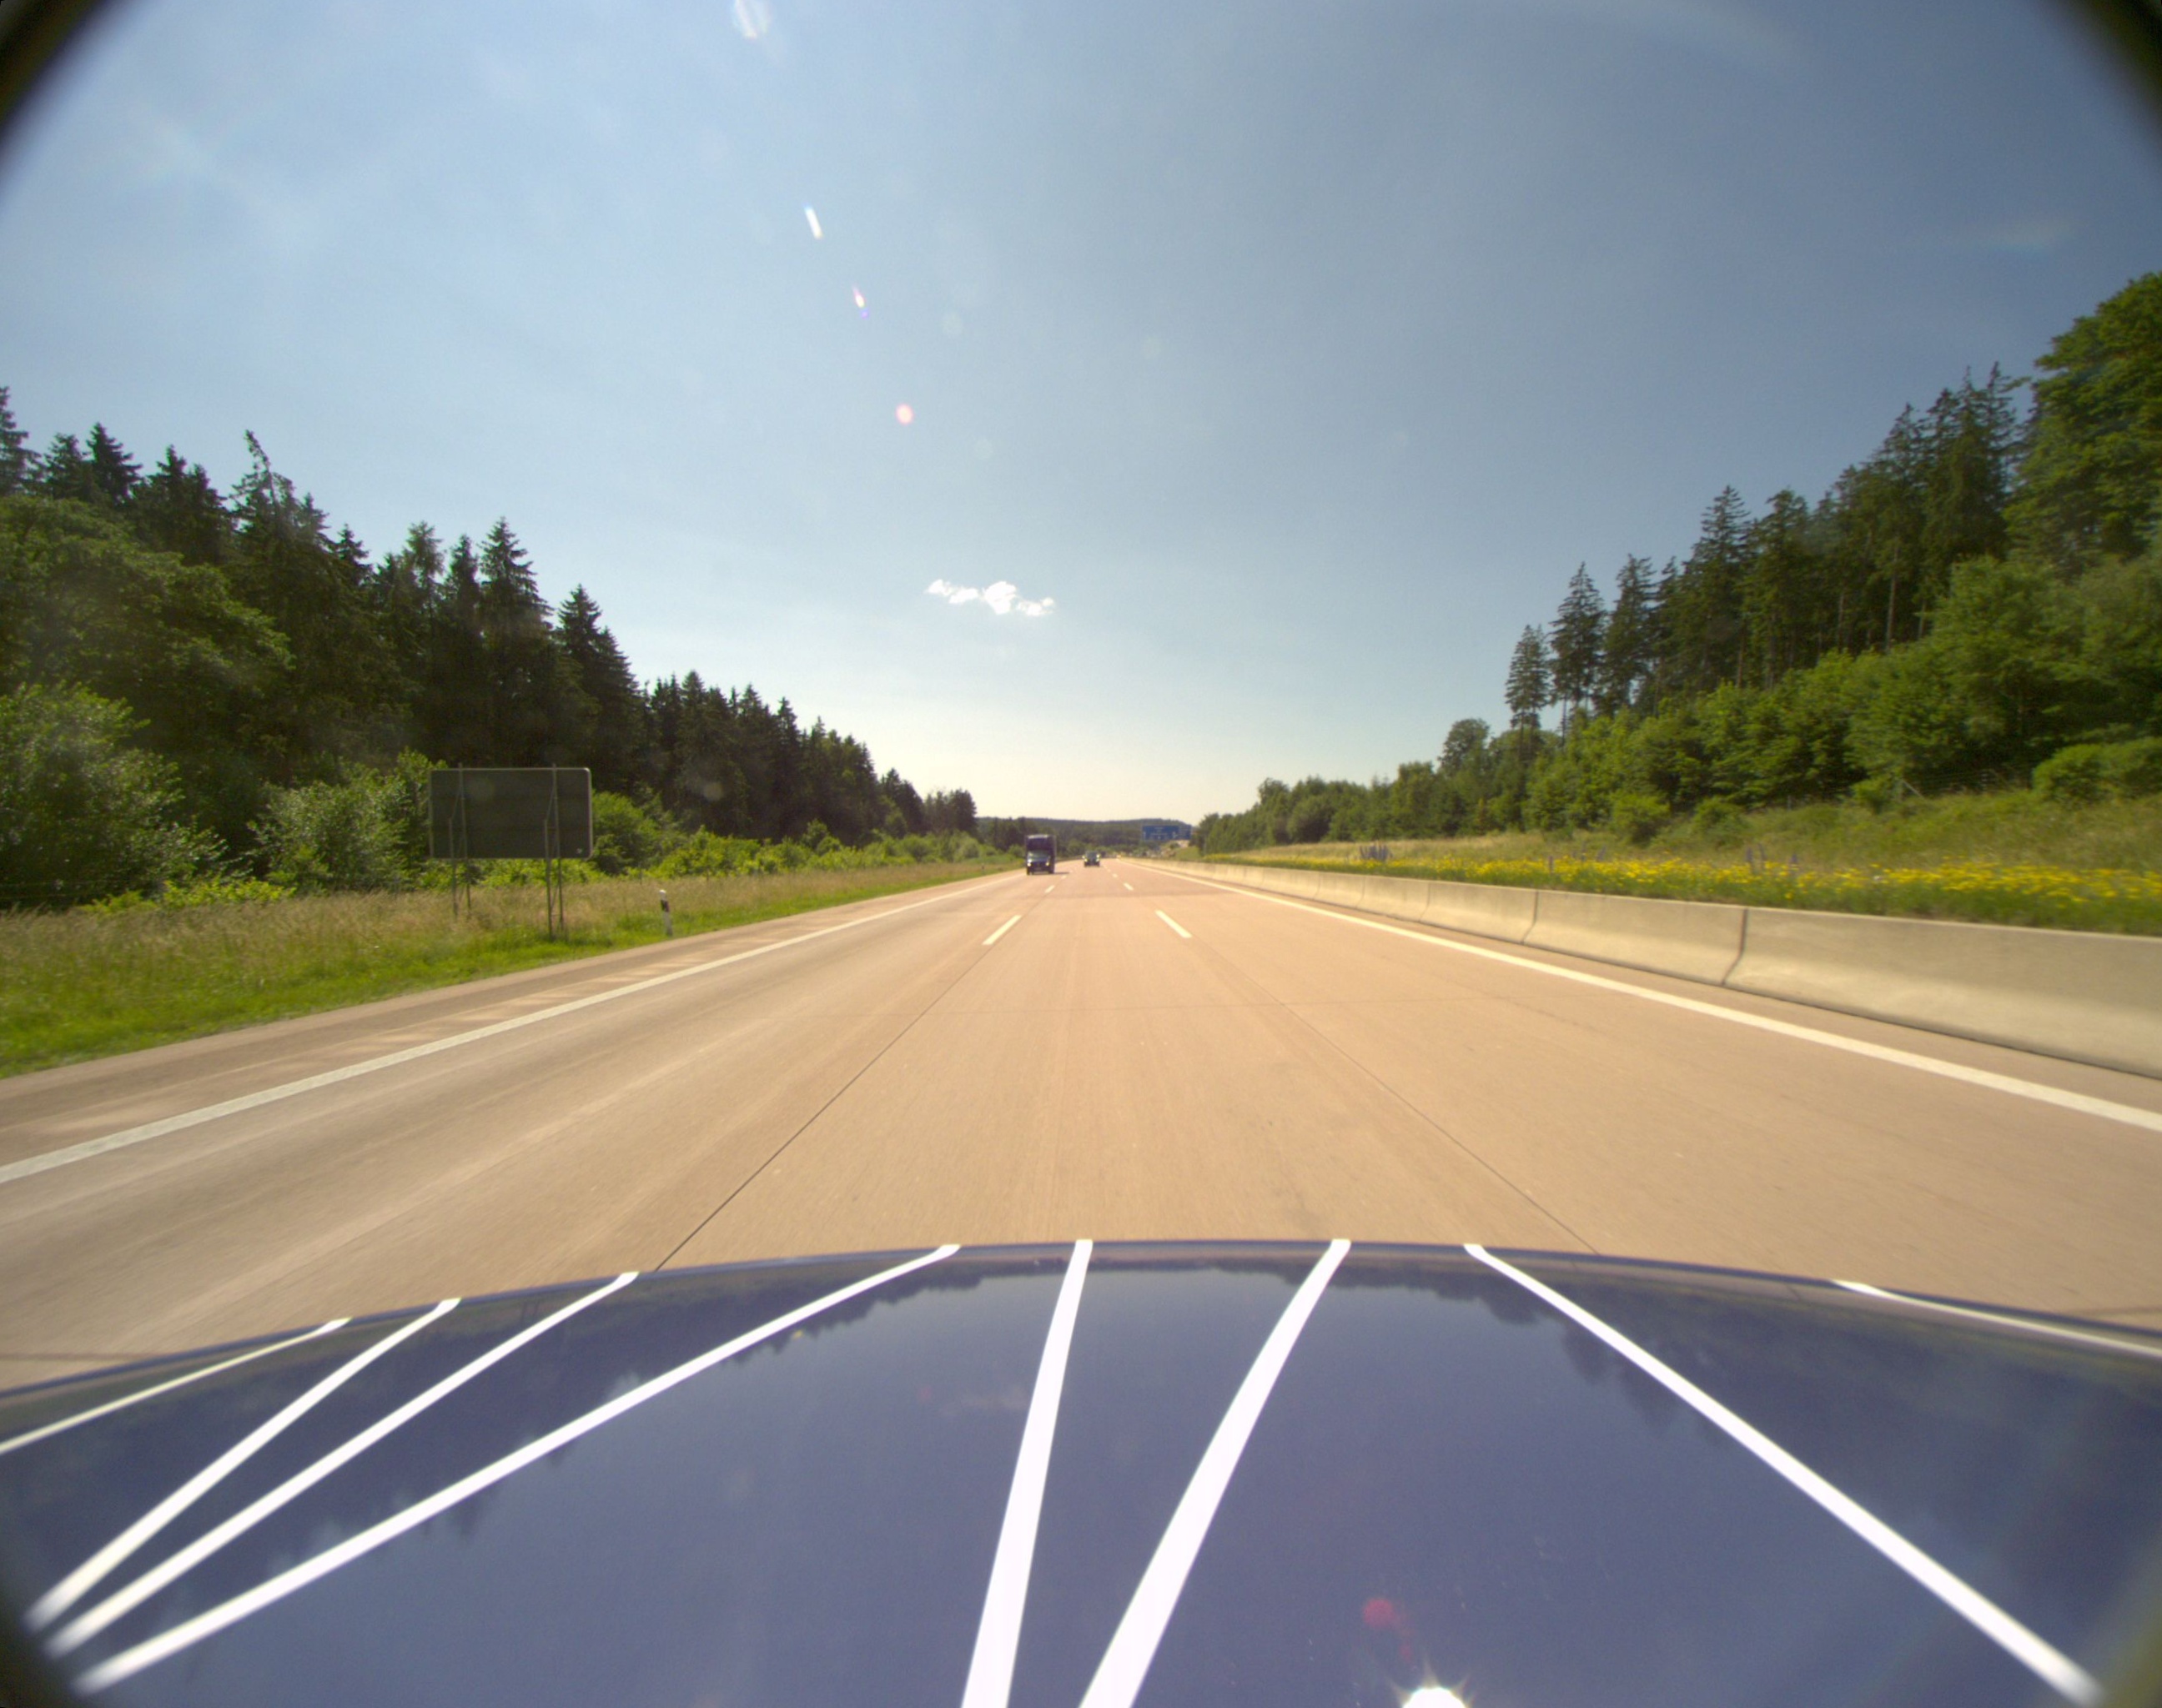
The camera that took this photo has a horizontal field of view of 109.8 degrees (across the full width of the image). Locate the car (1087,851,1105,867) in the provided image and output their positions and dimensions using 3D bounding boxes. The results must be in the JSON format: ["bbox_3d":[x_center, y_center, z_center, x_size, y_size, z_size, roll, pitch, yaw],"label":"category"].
[{"bbox_3d":[1.846,0.554,91.094,1.998,1.805,4.565,-2,0,3],"label":"car"}]

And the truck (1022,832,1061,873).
[{"bbox_3d":[-3.243,-0.153,64.308,2.508,3.199,7.785,-2,0,2],"label":"truck"}]

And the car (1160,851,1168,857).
[{"bbox_3d":[24.645,0.028,226.180,1.895,1.584,4.464,-2,0,1],"label":"car"}]

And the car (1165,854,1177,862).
[{"bbox_3d":[18.759,0.854,158.804,1.896,1.728,4.463,-2,0,-1],"label":"car"}]
